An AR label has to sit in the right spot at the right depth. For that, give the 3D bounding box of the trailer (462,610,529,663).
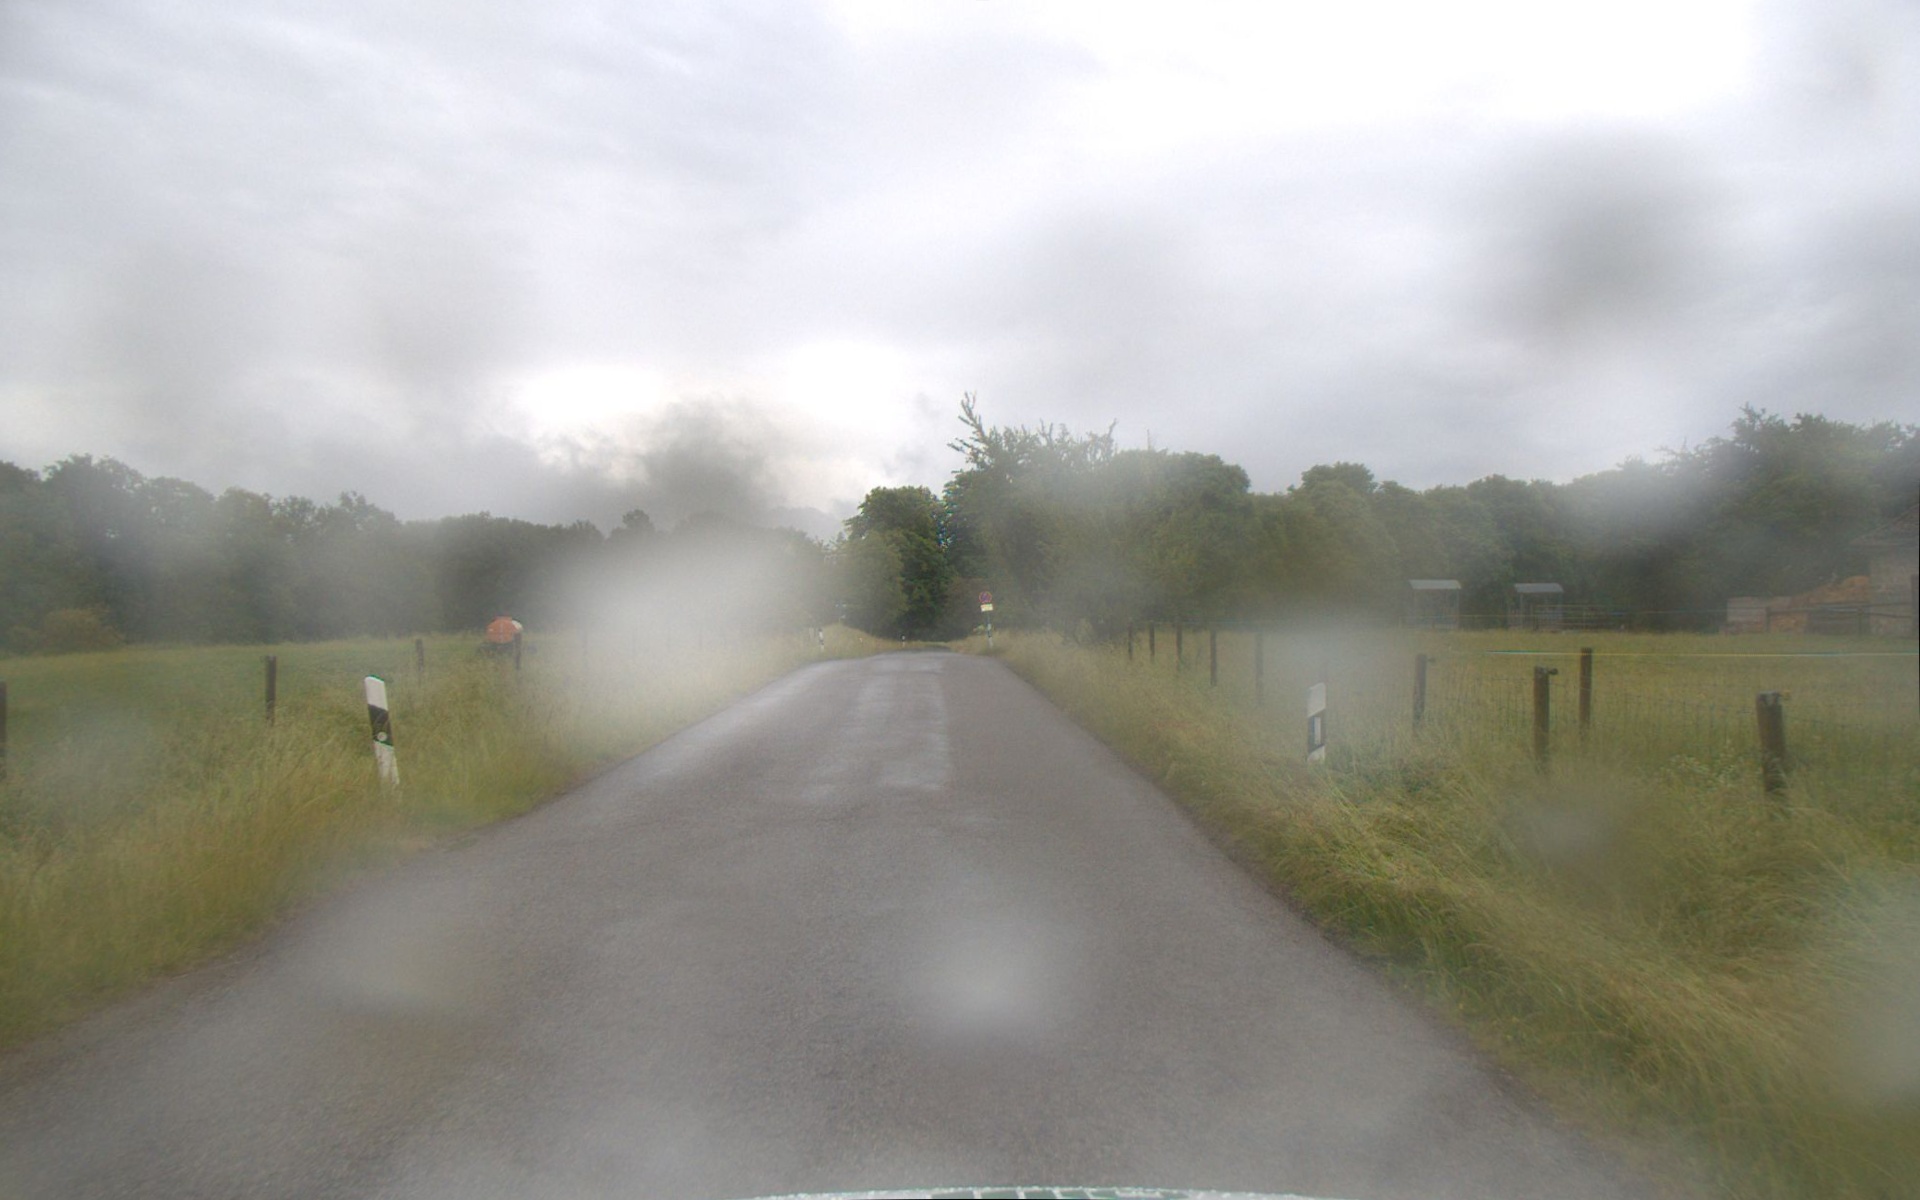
[{"bbox_3d":[-14.309,1.100,51.061,1.720,1.531,3.081,-1,0,-11],"label":"trailer"}]
